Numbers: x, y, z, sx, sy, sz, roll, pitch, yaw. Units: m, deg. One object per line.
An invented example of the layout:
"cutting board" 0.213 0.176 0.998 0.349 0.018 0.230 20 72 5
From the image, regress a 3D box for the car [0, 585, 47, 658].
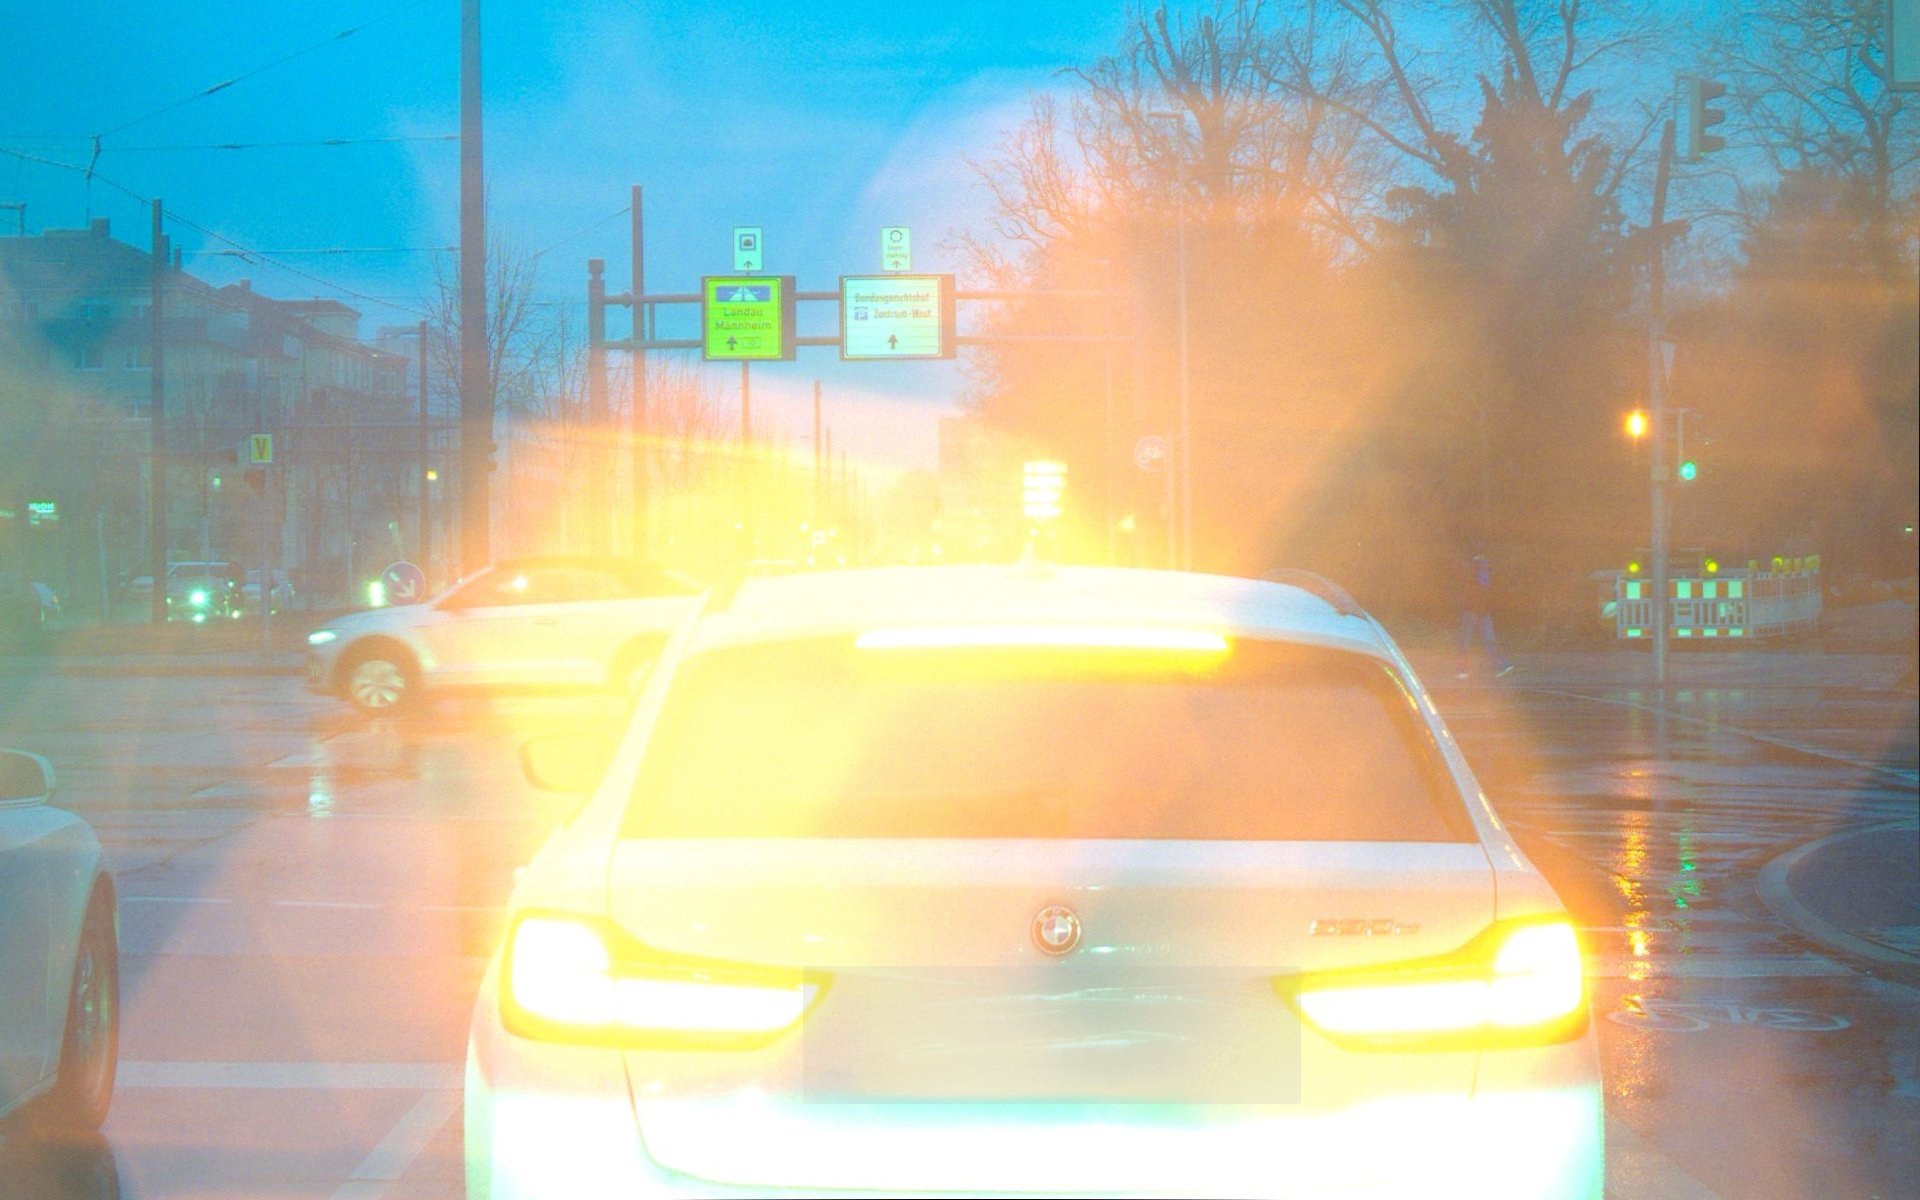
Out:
"car" -20.758 0.438 73.166 1.675 1.502 3.696 1 0 -1

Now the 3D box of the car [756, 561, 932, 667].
"car" -1.682 0.179 48.536 1.751 1.397 4.001 1 0 -13

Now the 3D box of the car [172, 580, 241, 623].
"car" -27.107 0.047 123.770 1.675 1.502 3.696 1 0 -1

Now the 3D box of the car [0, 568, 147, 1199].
"car" -3.092 0.676 7.035 1.993 1.451 4.369 0 1 -2

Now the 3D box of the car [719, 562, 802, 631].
"car" -4.749 -0.089 81.369 1.743 1.548 3.969 1 0 -6

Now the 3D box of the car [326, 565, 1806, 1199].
"car" 0.054 0.679 6.817 1.993 1.451 4.369 0 1 -2

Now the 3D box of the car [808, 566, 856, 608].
"car" -5.116 -0.522 137.385 1.843 1.603 3.945 1 0 -2

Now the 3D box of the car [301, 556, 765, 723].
"car" -4.012 0.363 32.719 4.093 1.524 1.839 0 0 4

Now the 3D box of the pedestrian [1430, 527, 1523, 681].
"pedestrian" 6.316 0.050 42.054 0.904 1.850 0.811 1 0 24
